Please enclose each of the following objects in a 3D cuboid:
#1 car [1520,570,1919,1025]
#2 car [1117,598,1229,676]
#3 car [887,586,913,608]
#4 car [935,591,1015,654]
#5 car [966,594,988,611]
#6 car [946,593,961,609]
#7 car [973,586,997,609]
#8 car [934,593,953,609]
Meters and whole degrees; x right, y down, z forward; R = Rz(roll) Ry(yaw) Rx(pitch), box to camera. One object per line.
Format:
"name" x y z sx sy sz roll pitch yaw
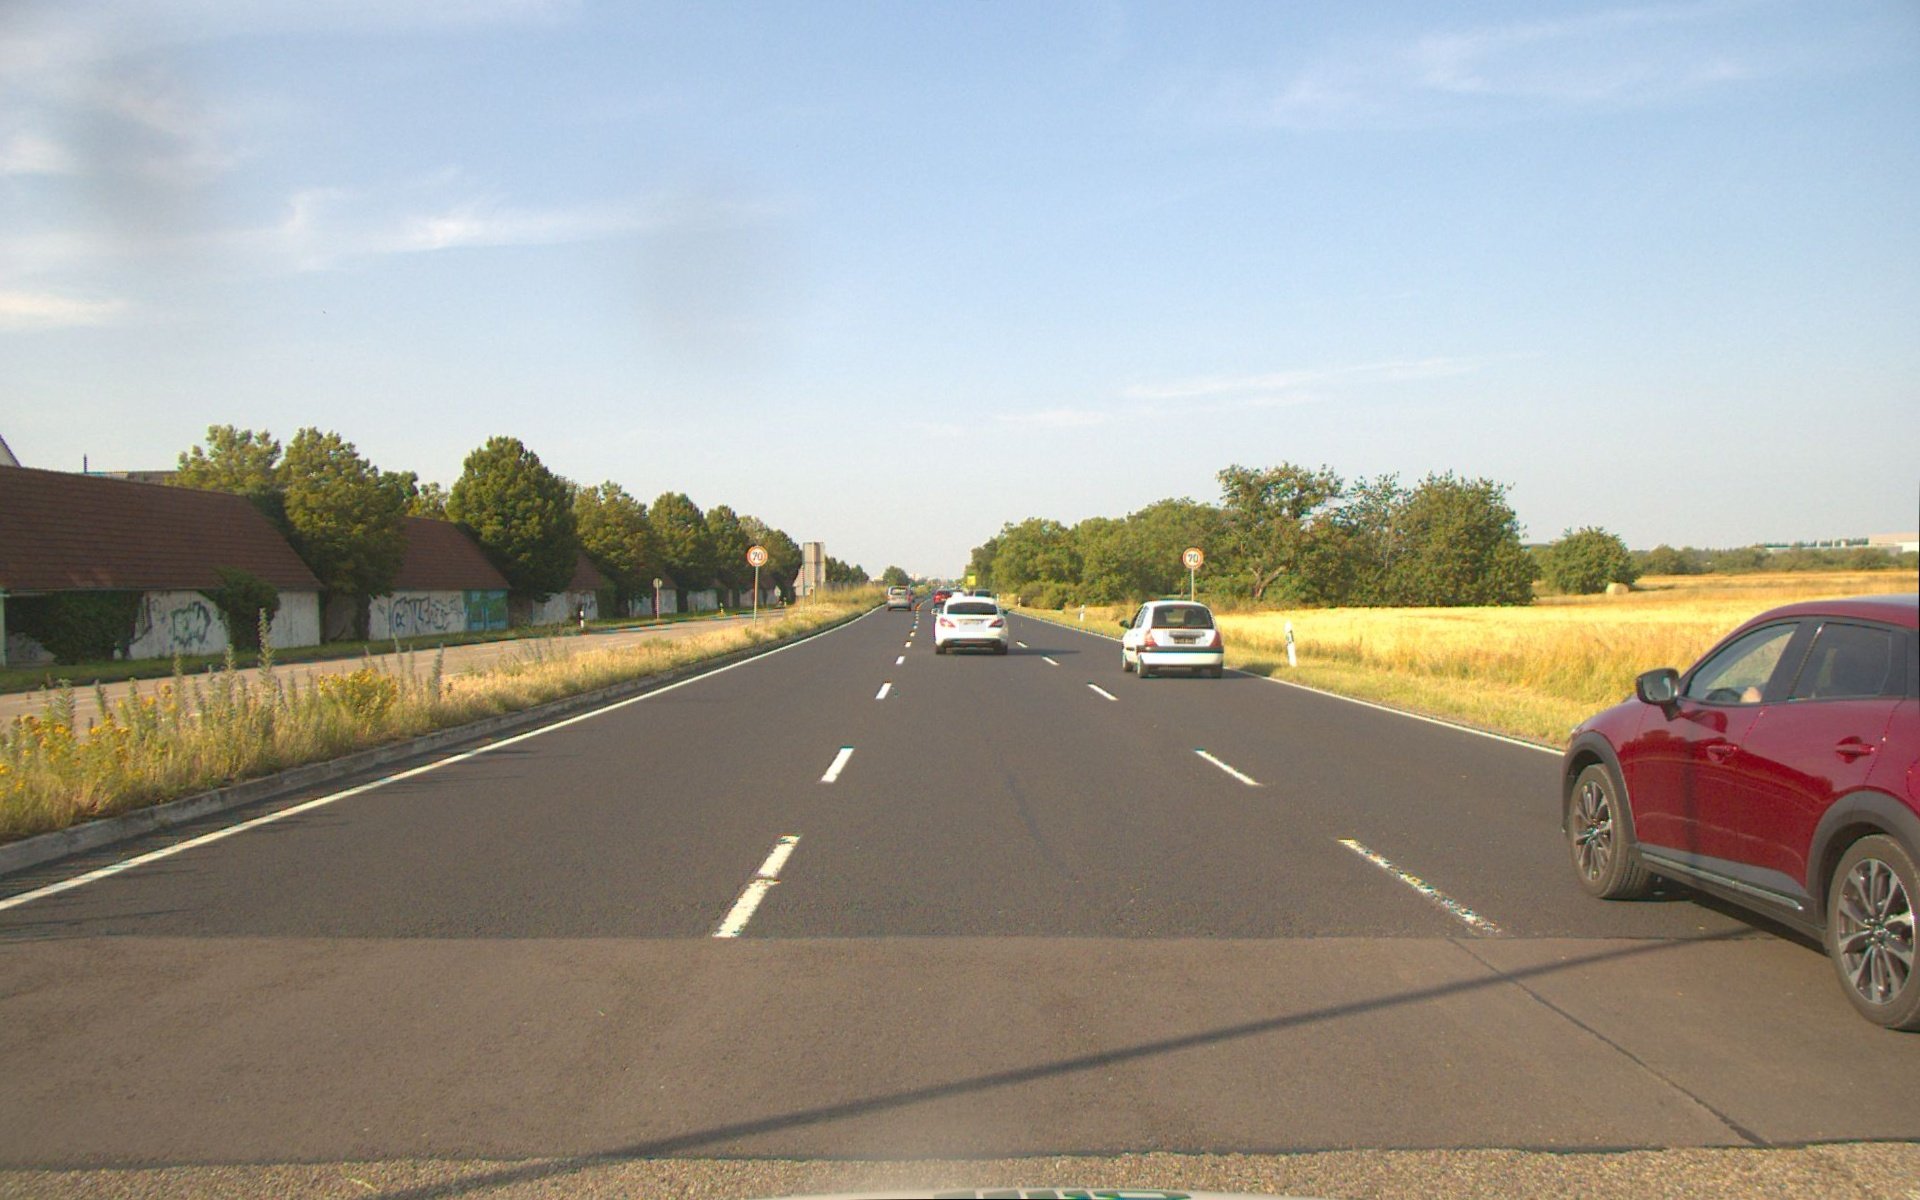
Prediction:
"car" 4.050 0.684 7.157 1.669 1.532 4.499 0 -1 -1
"car" 4.026 0.686 31.824 1.584 1.411 3.950 0 -1 -1
"car" -4.633 -0.225 127.706 1.722 1.646 4.000 0 -1 1
"car" 0.347 0.571 42.710 1.953 1.543 3.999 0 -1 -1
"car" 1.695 0.238 165.853 1.954 1.613 4.281 0 -1 -3
"car" -0.804 0.134 204.915 1.766 1.937 3.559 0 -1 1
"car" 1.951 -0.176 132.072 1.790 1.758 3.999 0 -1 -1
"car" -1.541 0.137 152.977 1.775 1.461 3.857 0 -1 -1
